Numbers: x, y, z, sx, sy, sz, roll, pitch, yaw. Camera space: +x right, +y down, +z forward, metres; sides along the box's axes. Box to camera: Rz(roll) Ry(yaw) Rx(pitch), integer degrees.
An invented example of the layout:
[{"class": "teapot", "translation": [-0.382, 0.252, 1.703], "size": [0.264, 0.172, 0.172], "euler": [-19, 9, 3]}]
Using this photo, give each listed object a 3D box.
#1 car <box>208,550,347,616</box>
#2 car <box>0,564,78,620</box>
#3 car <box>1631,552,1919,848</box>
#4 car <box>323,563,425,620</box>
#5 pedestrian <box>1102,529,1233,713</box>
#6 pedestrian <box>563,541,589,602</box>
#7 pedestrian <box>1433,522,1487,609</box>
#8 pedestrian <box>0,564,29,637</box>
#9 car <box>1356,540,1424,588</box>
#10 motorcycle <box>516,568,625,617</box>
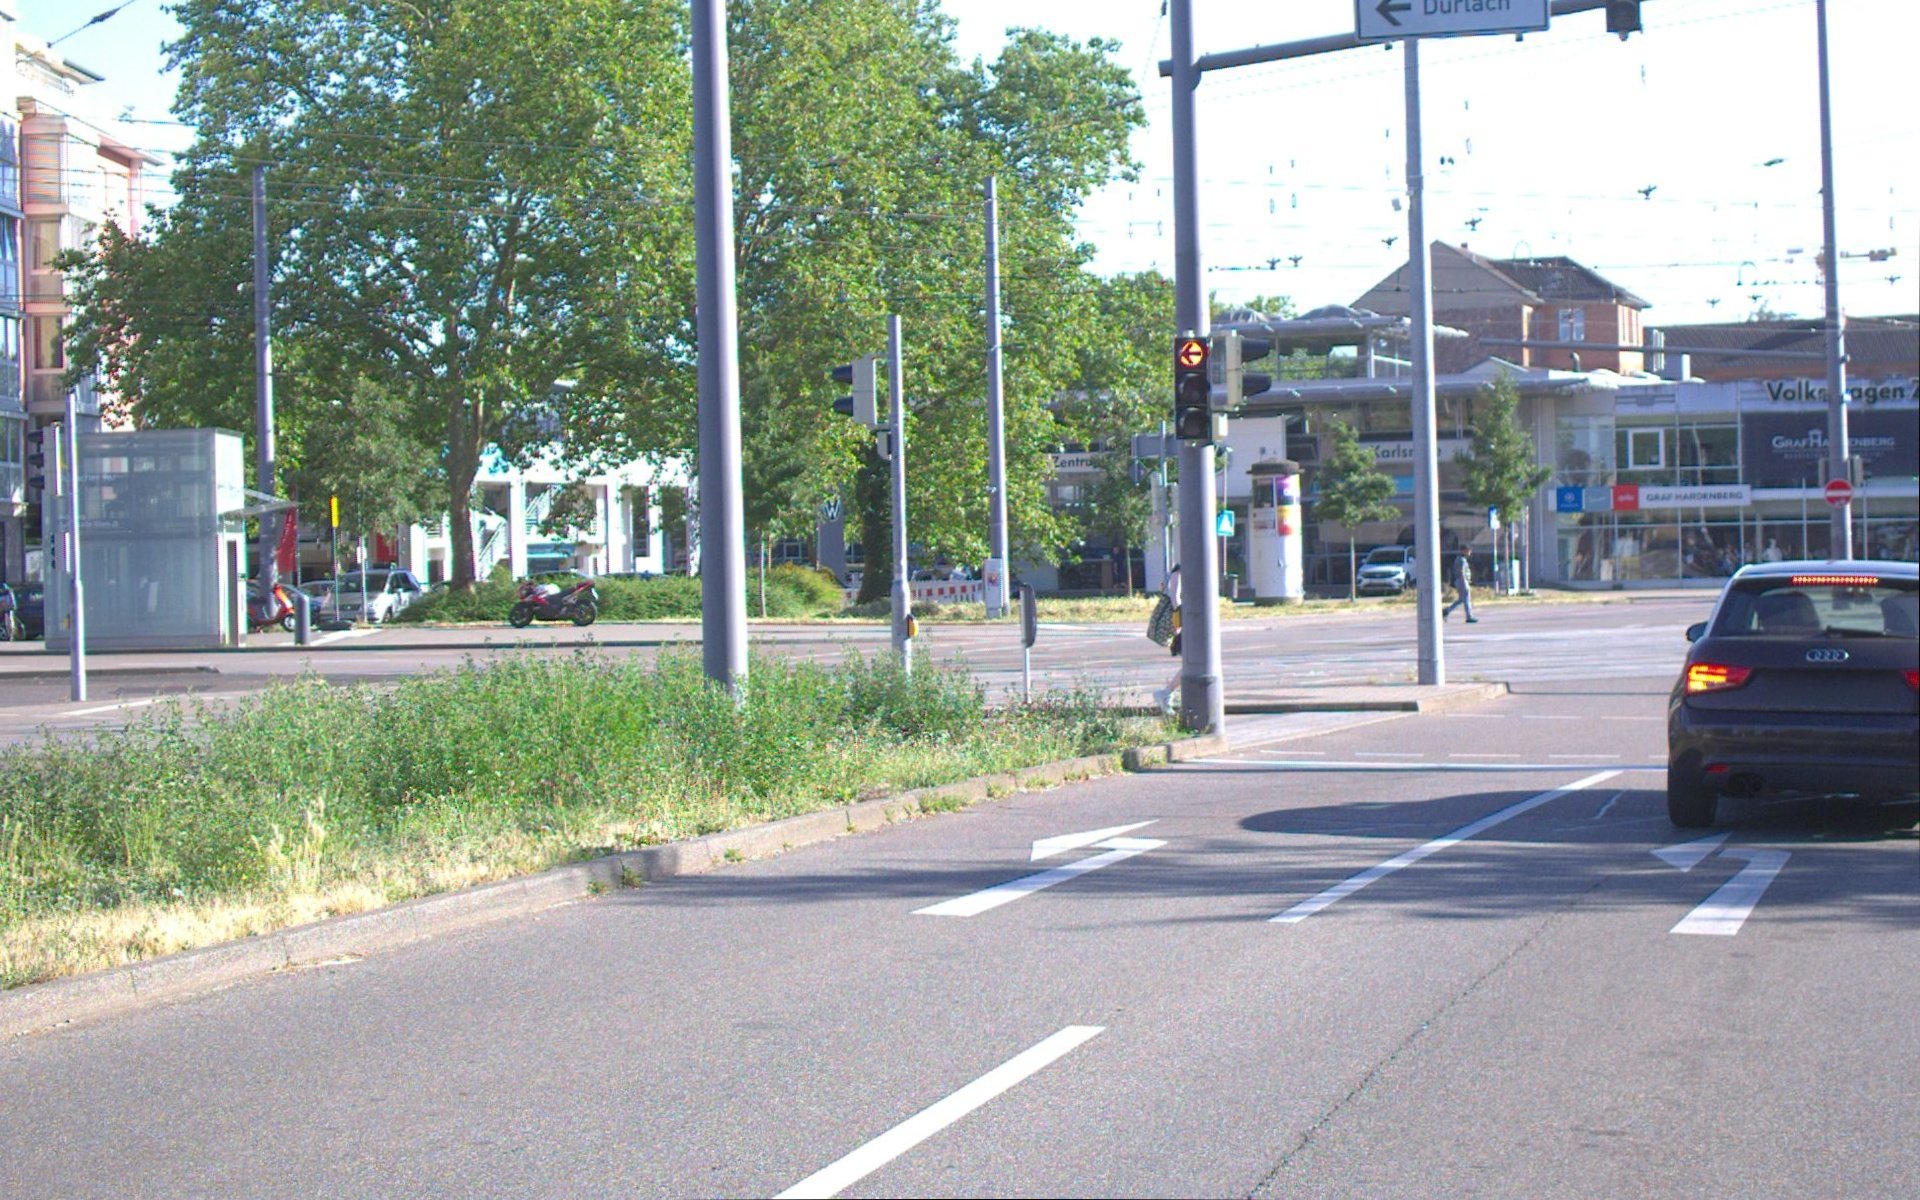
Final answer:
[{"class": "car", "translation": [-20.857, -0.524, 105.011], "size": [3.986, 1.851, 1.854], "euler": [-1, 3, -16]}, {"class": "car", "translation": [-25.322, -0.196, 90.032], "size": [3.986, 1.417, 1.813], "euler": [-1, 1, -3]}, {"class": "car", "translation": [4.912, 0.467, 19.050], "size": [1.802, 1.439, 3.974], "euler": [1, 1, 19]}, {"class": "car", "translation": [-15.578, -0.243, 91.547], "size": [1.847, 1.447, 4.000], "euler": [-1, 1, 3]}, {"class": "pedestrian", "translation": [1.857, 0.183, 30.647], "size": [1.093, 1.601, 0.699], "euler": [0, 2, 9]}, {"class": "pedestrian", "translation": [-12.750, -0.955, 114.216], "size": [0.589, 2.007, 0.710], "euler": [-1, 1, 19]}, {"class": "pedestrian", "translation": [10.666, -0.738, 73.358], "size": [0.990, 1.810, 0.919], "euler": [0, 3, 17]}, {"class": "pedestrian", "translation": [-22.151, 0.005, 79.883], "size": [0.776, 1.670, 0.783], "euler": [-1, 1, 2]}, {"class": "car", "translation": [15.199, -1.289, 121.361], "size": [1.995, 1.529, 3.998], "euler": [0, 3, 13]}, {"class": "motorcycle", "translation": [-8.669, -0.163, 76.560], "size": [2.285, 1.050, 0.687], "euler": [0, 2, 6]}]
